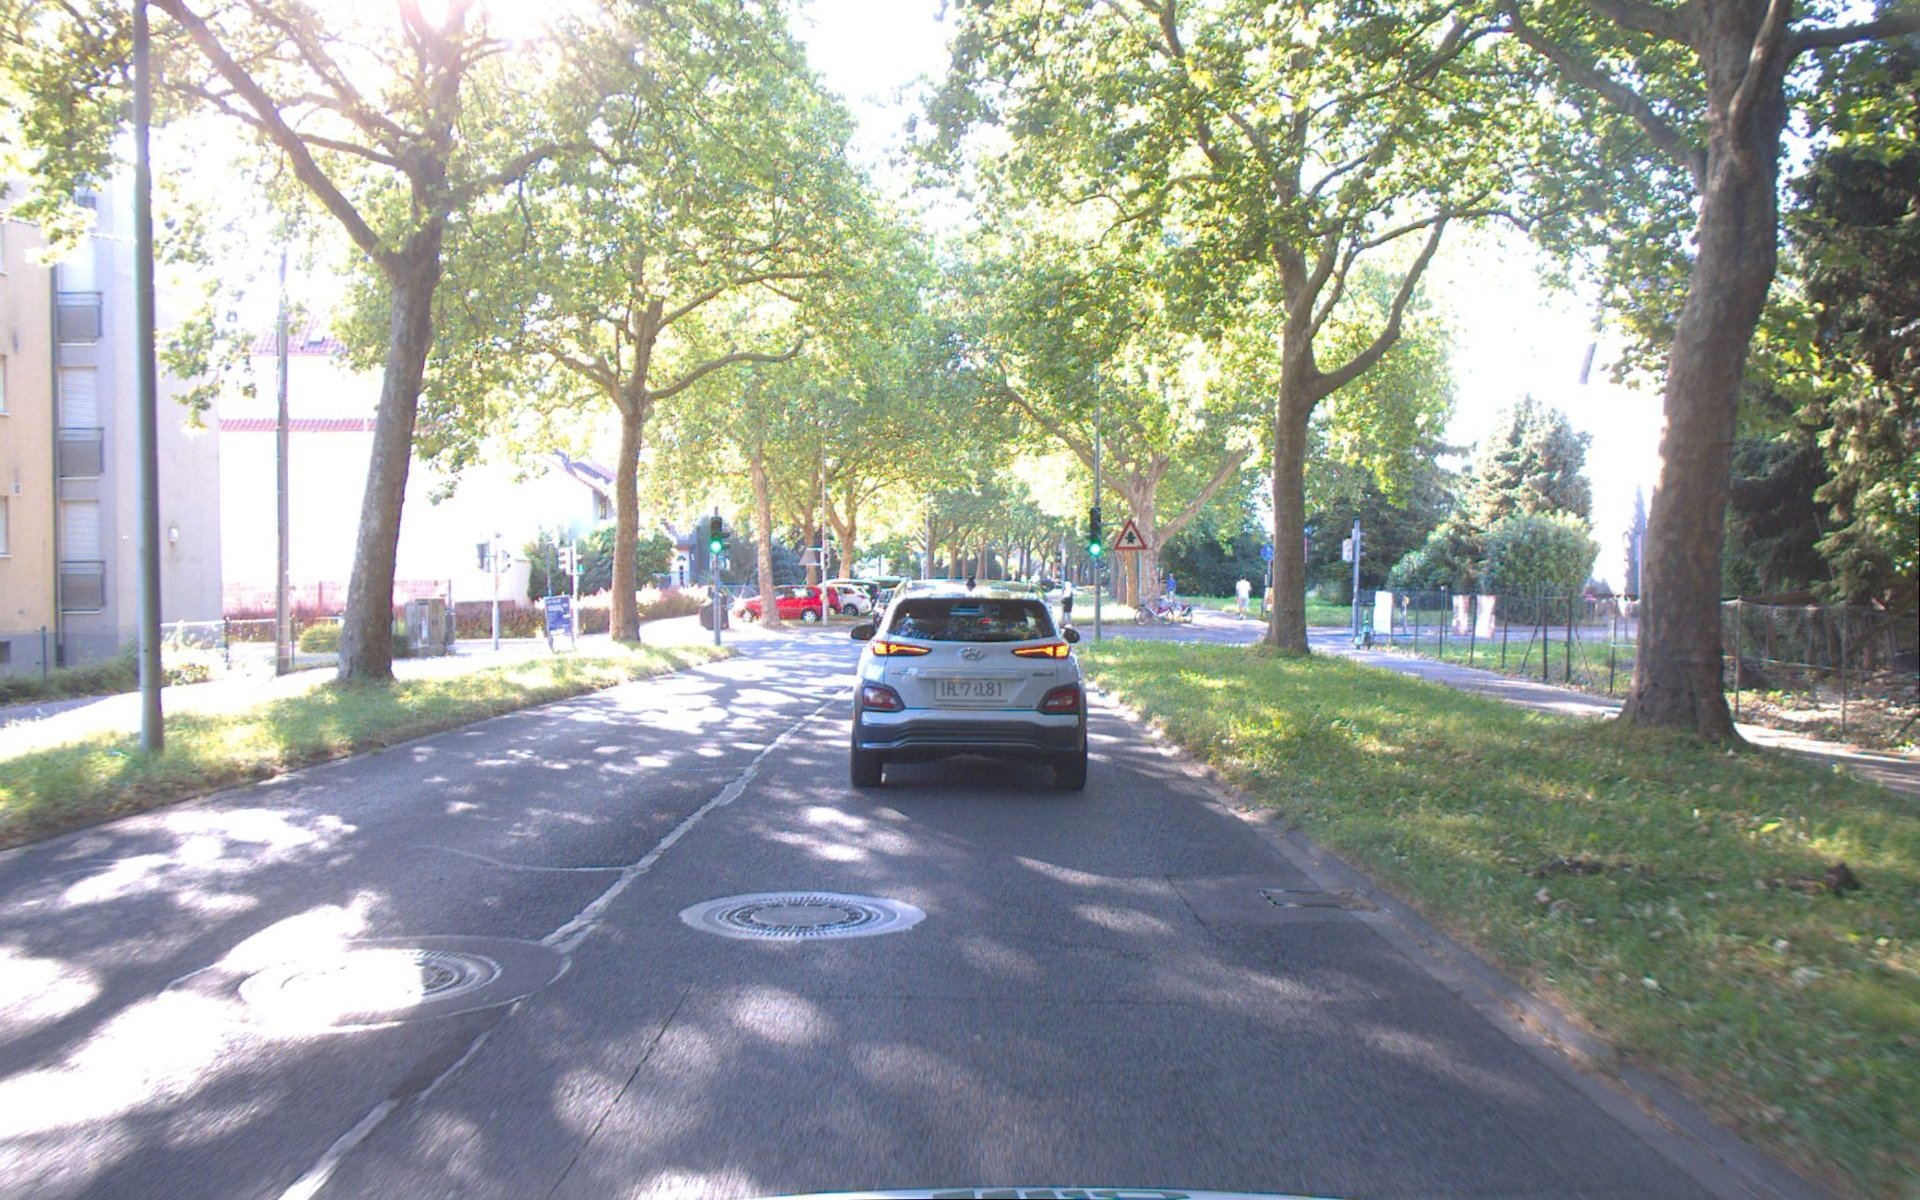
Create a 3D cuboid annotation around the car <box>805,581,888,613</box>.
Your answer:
[{"bbox_3d":[-5.581,-0.141,81.466,3.905,1.504,2.000,1,0,1],"label":"car"}]

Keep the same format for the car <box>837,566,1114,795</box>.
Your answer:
[{"bbox_3d":[0.111,0.567,13.747,1.953,1.602,4.000,1,0,0],"label":"car"}]

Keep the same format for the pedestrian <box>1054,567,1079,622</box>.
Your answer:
[{"bbox_3d":[3.992,-0.198,62.047,0.849,2.049,0.814,1,0,8],"label":"pedestrian"}]

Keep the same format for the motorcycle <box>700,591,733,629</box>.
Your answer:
[{"bbox_3d":[-9.175,0.363,62.351,0.828,1.403,2.776,1,0,0],"label":"motorcycle"}]

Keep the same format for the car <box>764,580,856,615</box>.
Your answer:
[{"bbox_3d":[-6.730,-0.119,74.598,3.905,1.504,2.000,1,0,1],"label":"car"}]

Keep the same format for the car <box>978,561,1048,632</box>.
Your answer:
[{"bbox_3d":[1.543,-0.118,49.366,1.953,2.049,4.000,0,1,0],"label":"car"}]

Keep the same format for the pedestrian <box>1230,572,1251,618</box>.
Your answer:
[{"bbox_3d":[10.961,-0.206,64.641,0.816,1.766,0.886,1,0,9],"label":"pedestrian"}]

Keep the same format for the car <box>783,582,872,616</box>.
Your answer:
[{"bbox_3d":[-6.145,-0.052,76.841,3.904,1.504,2.000,1,0,2],"label":"car"}]

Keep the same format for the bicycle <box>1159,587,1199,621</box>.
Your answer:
[{"bbox_3d":[8.132,0.146,61.400,0.594,1.204,2.107,1,0,-18],"label":"bicycle"}]

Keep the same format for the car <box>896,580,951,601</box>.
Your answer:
[{"bbox_3d":[-2.608,-0.696,120.413,3.905,1.504,2.000,1,0,1],"label":"car"}]

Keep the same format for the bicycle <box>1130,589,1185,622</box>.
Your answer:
[{"bbox_3d":[7.199,0.191,60.341,0.600,1.184,2.116,1,0,-43],"label":"bicycle"}]

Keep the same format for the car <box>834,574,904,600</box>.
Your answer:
[{"bbox_3d":[-5.294,-0.750,96.431,3.905,1.504,2.000,1,0,1],"label":"car"}]

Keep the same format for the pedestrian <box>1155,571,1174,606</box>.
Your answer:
[{"bbox_3d":[12.018,-0.685,97.097,1.071,2.049,1.106,0,0,7],"label":"pedestrian"}]

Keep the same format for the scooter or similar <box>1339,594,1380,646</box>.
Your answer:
[{"bbox_3d":[10.207,0.492,42.308,0.538,1.280,2.313,1,0,1],"label":"scooter or similar"}]

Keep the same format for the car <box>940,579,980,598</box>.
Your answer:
[{"bbox_3d":[0.013,-1.107,158.352,3.601,1.840,1.746,0,0,-9],"label":"car"}]

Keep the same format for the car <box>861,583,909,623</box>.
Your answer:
[{"bbox_3d":[-2.903,0.095,64.845,1.653,1.462,3.682,1,1,1],"label":"car"}]

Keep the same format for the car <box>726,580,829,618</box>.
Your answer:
[{"bbox_3d":[-7.372,-0.040,66.987,3.905,1.504,2.000,1,0,1],"label":"car"}]

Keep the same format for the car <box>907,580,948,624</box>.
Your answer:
[{"bbox_3d":[-1.445,0.093,74.854,1.754,1.914,4.000,1,0,0],"label":"car"}]
